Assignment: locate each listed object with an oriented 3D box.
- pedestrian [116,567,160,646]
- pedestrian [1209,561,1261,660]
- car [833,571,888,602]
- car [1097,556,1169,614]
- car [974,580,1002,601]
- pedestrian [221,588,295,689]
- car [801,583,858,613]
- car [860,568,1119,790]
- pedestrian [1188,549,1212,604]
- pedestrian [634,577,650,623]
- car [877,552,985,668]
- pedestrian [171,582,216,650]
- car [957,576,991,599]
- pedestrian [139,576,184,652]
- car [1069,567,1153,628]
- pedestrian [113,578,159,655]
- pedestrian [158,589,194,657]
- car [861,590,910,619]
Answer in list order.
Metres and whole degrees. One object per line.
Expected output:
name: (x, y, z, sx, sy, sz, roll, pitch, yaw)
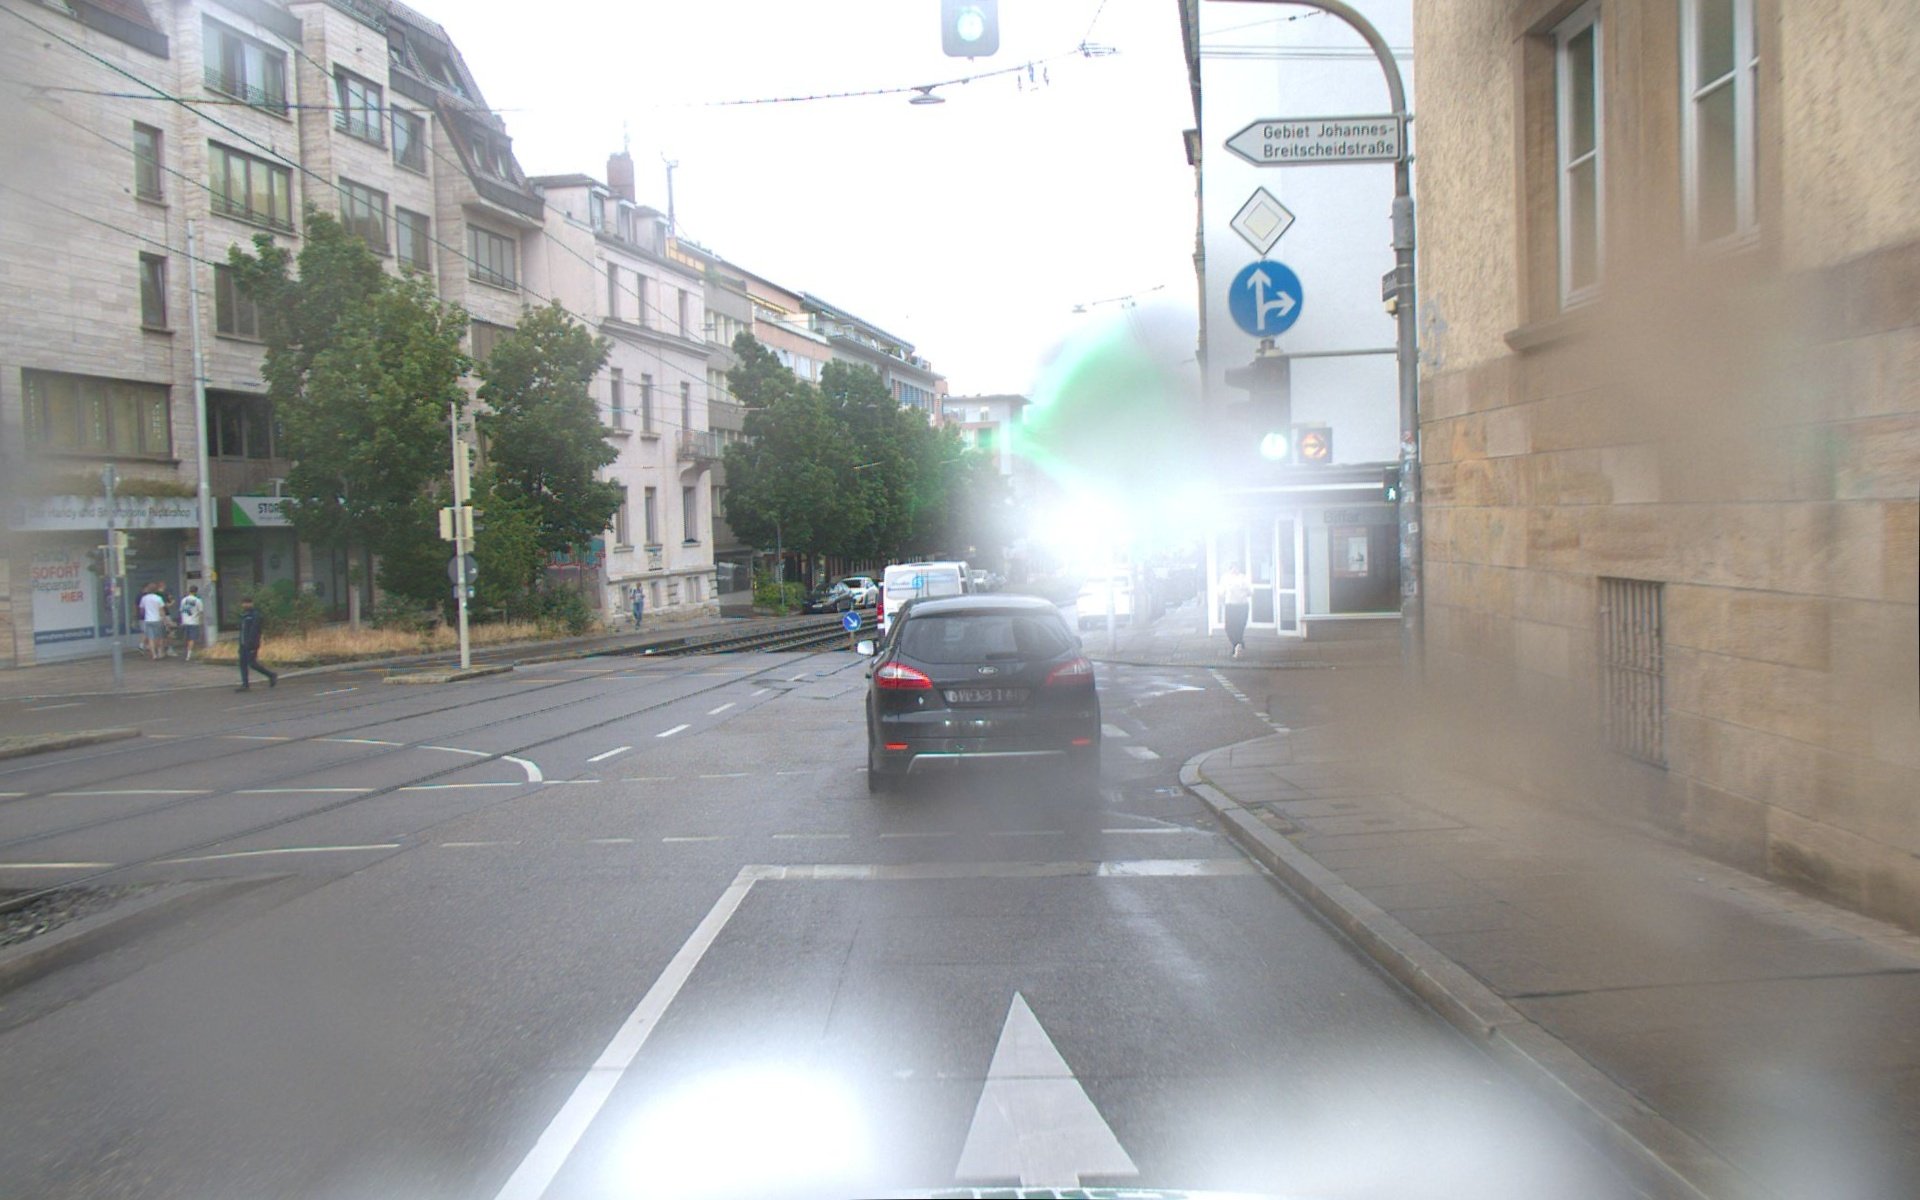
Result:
pedestrian: (-20.061, 0.160, 40.368, 0.634, 1.875, 0.684, 1, -1, 8)
pedestrian: (4.571, 0.177, 27.494, 0.674, 1.599, 0.763, -2, -1, -1)
car: (-5.237, -0.690, 87.757, 1.816, 1.576, 4.724, 0, -1, 10)
car: (5.331, -0.431, 50.579, 1.806, 1.661, 4.590, -1, -1, 10)
car: (2.288, -0.764, 133.504, 1.658, 1.601, 4.049, 0, -1, 10)
pedestrian: (-13.218, 0.721, 31.160, 0.911, 1.862, 0.960, 1, -1, 2)
car: (-6.425, -0.075, 81.622, 1.657, 1.402, 4.724, 0, -1, 10)
car: (0.204, 0.579, 13.638, 1.805, 1.533, 3.999, 1, -1, 0)
pedestrian: (8.513, -0.840, 58.639, 0.688, 1.850, 0.962, -3, 1, 10)
pedestrian: (-11.819, 0.007, 61.511, 0.458, 1.681, 0.582, 1, -1, -2)
car: (-0.561, 0.214, 32.633, 1.948, 2.096, 4.644, 1, -1, -1)
pedestrian: (-18.009, 0.383, 38.874, 0.634, 1.576, 0.684, 1, -1, 8)
car: (1.081, -0.946, 127.016, 1.816, 1.665, 4.939, 0, -1, 10)
pedestrian: (-18.743, 0.338, 38.823, 0.634, 1.754, 0.684, 1, -1, 8)
car: (4.060, -0.040, 43.923, 1.763, 1.481, 4.590, -2, -1, 10)
pedestrian: (-19.394, 0.391, 38.946, 0.634, 1.780, 0.684, 1, -1, 8)
pedestrian: (-18.806, 0.550, 39.679, 0.493, 1.626, 0.586, 1, -1, 8)
car: (-4.202, 0.284, 94.009, 1.816, 1.576, 4.435, 0, -1, 10)
